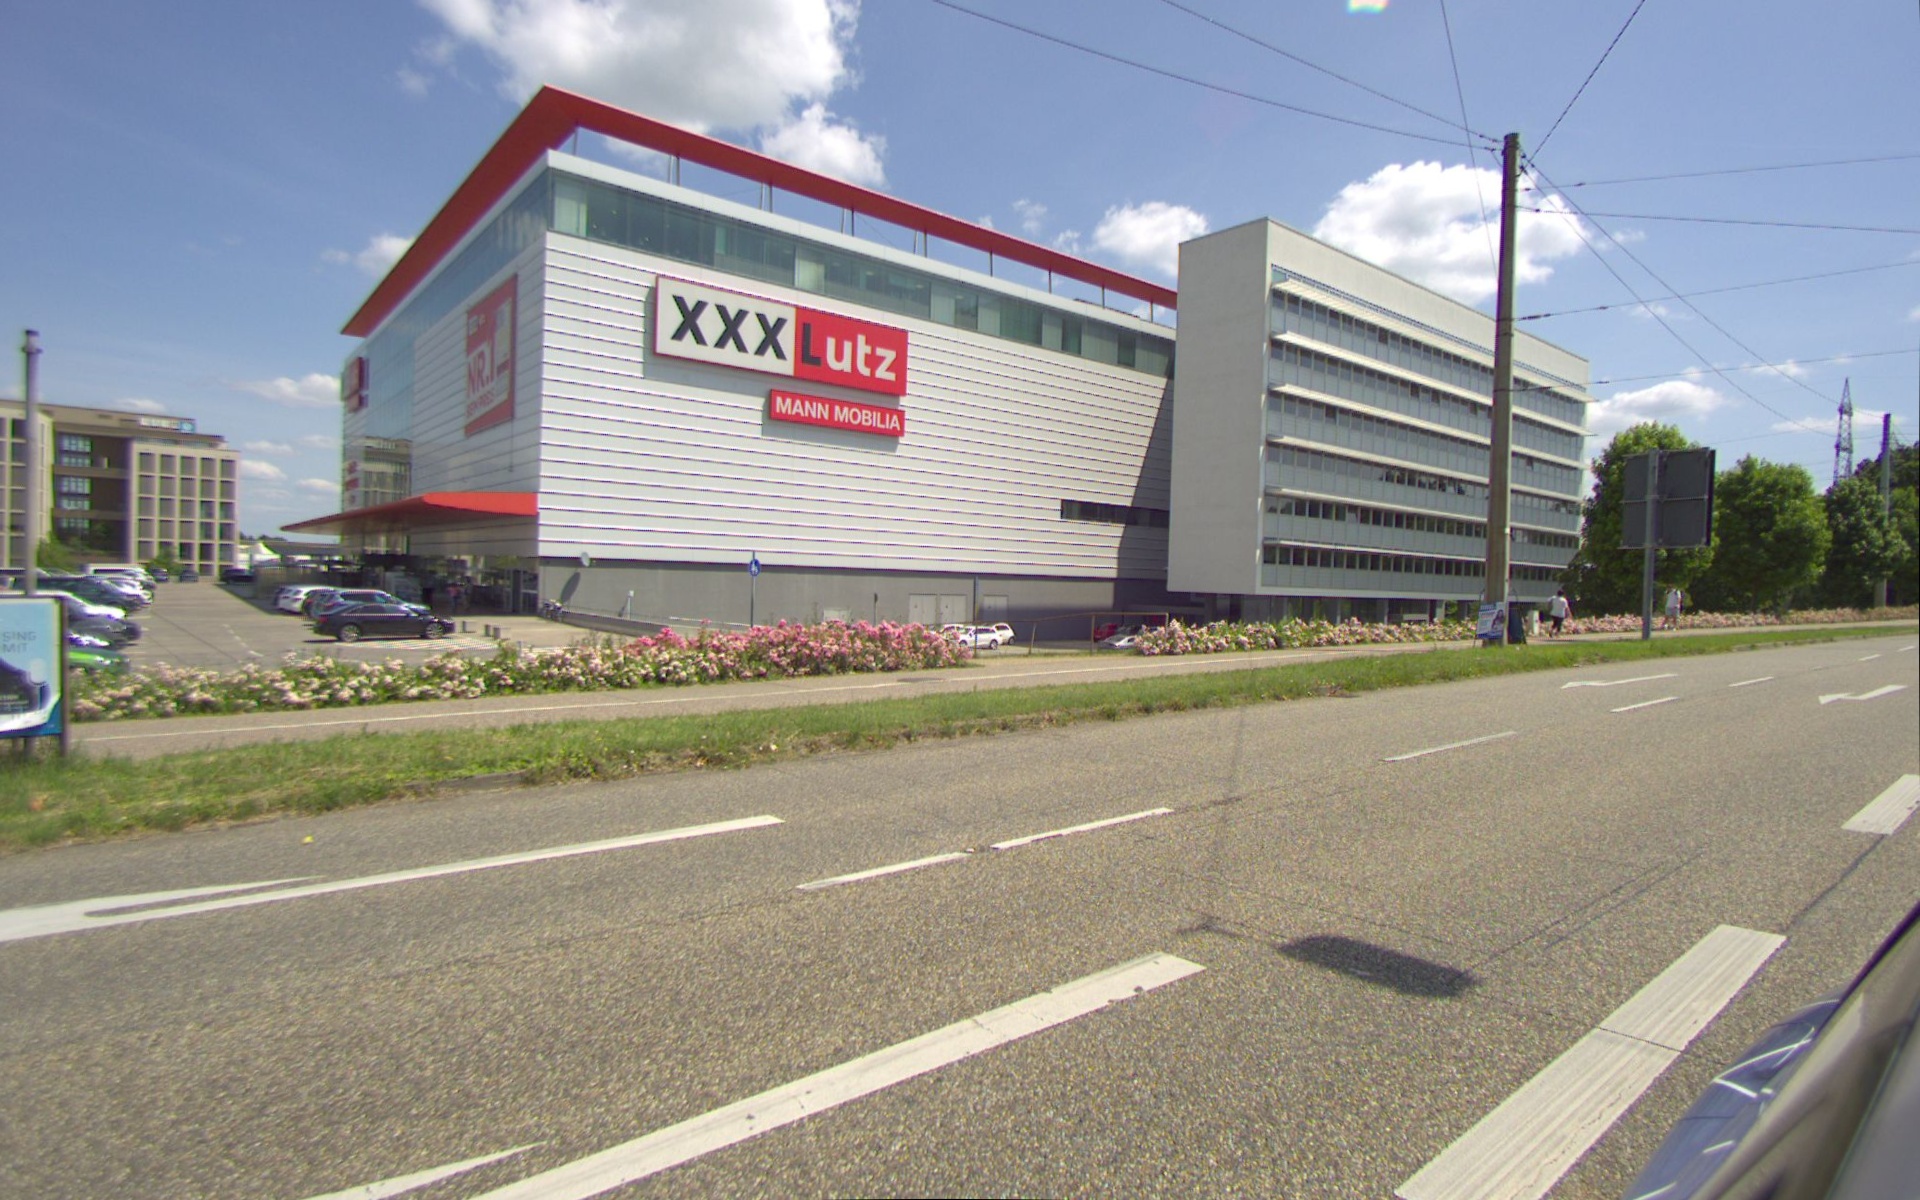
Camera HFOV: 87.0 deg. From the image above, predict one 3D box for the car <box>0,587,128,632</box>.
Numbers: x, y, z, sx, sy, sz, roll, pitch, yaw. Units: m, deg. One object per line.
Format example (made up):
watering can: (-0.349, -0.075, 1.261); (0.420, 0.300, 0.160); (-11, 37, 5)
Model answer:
car: (-35.855, 0.344, 39.711); (4.913, 1.671, 1.997); (0, 0, -41)

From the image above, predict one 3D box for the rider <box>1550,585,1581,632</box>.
rider: (18.982, 0.256, 31.725); (0.607, 1.476, 0.670); (0, 0, -41)

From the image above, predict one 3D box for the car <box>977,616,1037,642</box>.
car: (3.306, 1.991, 70.713); (3.930, 1.632, 1.997); (-1, 1, -41)

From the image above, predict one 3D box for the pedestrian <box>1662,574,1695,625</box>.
pedestrian: (26.663, -0.035, 37.546); (0.913, 1.872, 0.758); (0, 0, -38)

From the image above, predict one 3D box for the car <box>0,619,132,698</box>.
car: (-21.428, 1.308, 22.845); (4.227, 1.514, 1.998); (0, 4, -41)

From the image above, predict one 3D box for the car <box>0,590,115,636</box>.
car: (-34.350, 0.459, 37.311); (4.913, 1.631, 1.997); (0, 0, -41)

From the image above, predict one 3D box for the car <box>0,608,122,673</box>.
car: (-24.752, 1.047, 26.043); (4.913, 1.570, 1.997); (0, 1, -41)

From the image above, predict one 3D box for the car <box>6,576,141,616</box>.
car: (-44.759, -0.222, 51.216); (5.094, 1.888, 1.996); (-1, 0, -42)

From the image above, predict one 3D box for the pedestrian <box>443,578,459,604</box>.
pedestrian: (-31.121, -0.525, 61.881); (0.723, 1.577, 0.741); (0, 0, -42)

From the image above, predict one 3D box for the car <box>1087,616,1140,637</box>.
car: (11.791, 2.020, 77.661); (3.930, 1.465, 1.997); (-1, 1, -41)

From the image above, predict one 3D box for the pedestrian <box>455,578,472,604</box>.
pedestrian: (-30.170, -0.532, 61.510); (0.723, 1.577, 0.741); (0, 0, -42)

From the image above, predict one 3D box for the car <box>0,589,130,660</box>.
car: (-27.893, 0.691, 29.693); (5.437, 2.039, 1.997); (0, 0, -41)

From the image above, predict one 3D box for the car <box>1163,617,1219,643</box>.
car: (16.393, 2.095, 71.806); (3.930, 1.632, 1.997); (-1, 1, -41)

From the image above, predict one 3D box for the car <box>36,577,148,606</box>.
car: (-50.759, -0.495, 59.286); (4.913, 1.631, 1.997); (0, 0, -41)

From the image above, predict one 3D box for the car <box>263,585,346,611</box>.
car: (-39.244, -0.133, 60.632); (3.930, 1.505, 1.997); (0, 0, -41)

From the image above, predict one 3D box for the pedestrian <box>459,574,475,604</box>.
pedestrian: (-30.479, -0.680, 62.523); (0.723, 1.893, 0.741); (0, 0, -42)

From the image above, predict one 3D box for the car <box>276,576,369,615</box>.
car: (-33.927, -0.247, 53.903); (3.930, 2.039, 1.997); (0, 0, -41)

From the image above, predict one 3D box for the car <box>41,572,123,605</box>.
car: (-56.365, -0.749, 65.023); (3.930, 2.039, 1.997); (-1, 1, -41)

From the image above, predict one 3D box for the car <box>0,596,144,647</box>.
car: (-30.676, 0.680, 34.098); (4.913, 1.631, 1.997); (0, 0, -41)

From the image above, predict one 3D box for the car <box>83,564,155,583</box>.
car: (-74.966, -2.354, 90.255); (4.913, 1.631, 1.997); (0, 0, -41)

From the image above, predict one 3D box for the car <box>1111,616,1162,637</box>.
car: (13.172, 1.959, 75.581); (3.930, 1.403, 1.646); (-1, 1, -41)

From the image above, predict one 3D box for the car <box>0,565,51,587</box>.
car: (-73.663, -1.853, 78.283); (4.913, 1.631, 1.997); (0, 0, -41)

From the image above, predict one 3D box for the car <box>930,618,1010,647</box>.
car: (0.673, 2.066, 64.953); (5.057, 1.632, 1.997); (-1, 1, -41)

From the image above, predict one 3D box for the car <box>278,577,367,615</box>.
car: (-35.357, -0.246, 56.133); (3.930, 2.039, 1.997); (-1, 1, -41)

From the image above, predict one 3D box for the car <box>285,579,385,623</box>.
car: (-30.595, 0.005, 49.592); (3.930, 2.039, 1.997); (-1, 1, -41)

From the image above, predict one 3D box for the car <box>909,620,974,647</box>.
car: (-1.222, 2.197, 66.958); (3.930, 1.632, 1.997); (-1, 1, -41)

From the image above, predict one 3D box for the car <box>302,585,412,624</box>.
car: (-28.609, 0.201, 48.058); (4.257, 1.804, 1.997); (0, -1, -41)

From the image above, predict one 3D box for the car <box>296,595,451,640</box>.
car: (-22.530, 0.619, 38.999); (4.913, 1.631, 1.997); (0, 0, -41)

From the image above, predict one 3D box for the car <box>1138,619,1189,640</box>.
car: (14.852, 2.139, 73.626); (3.930, 1.338, 1.607); (-1, 1, -41)

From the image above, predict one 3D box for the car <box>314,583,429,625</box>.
car: (-26.624, 0.172, 45.837); (4.257, 1.804, 1.997); (0, -1, -41)
